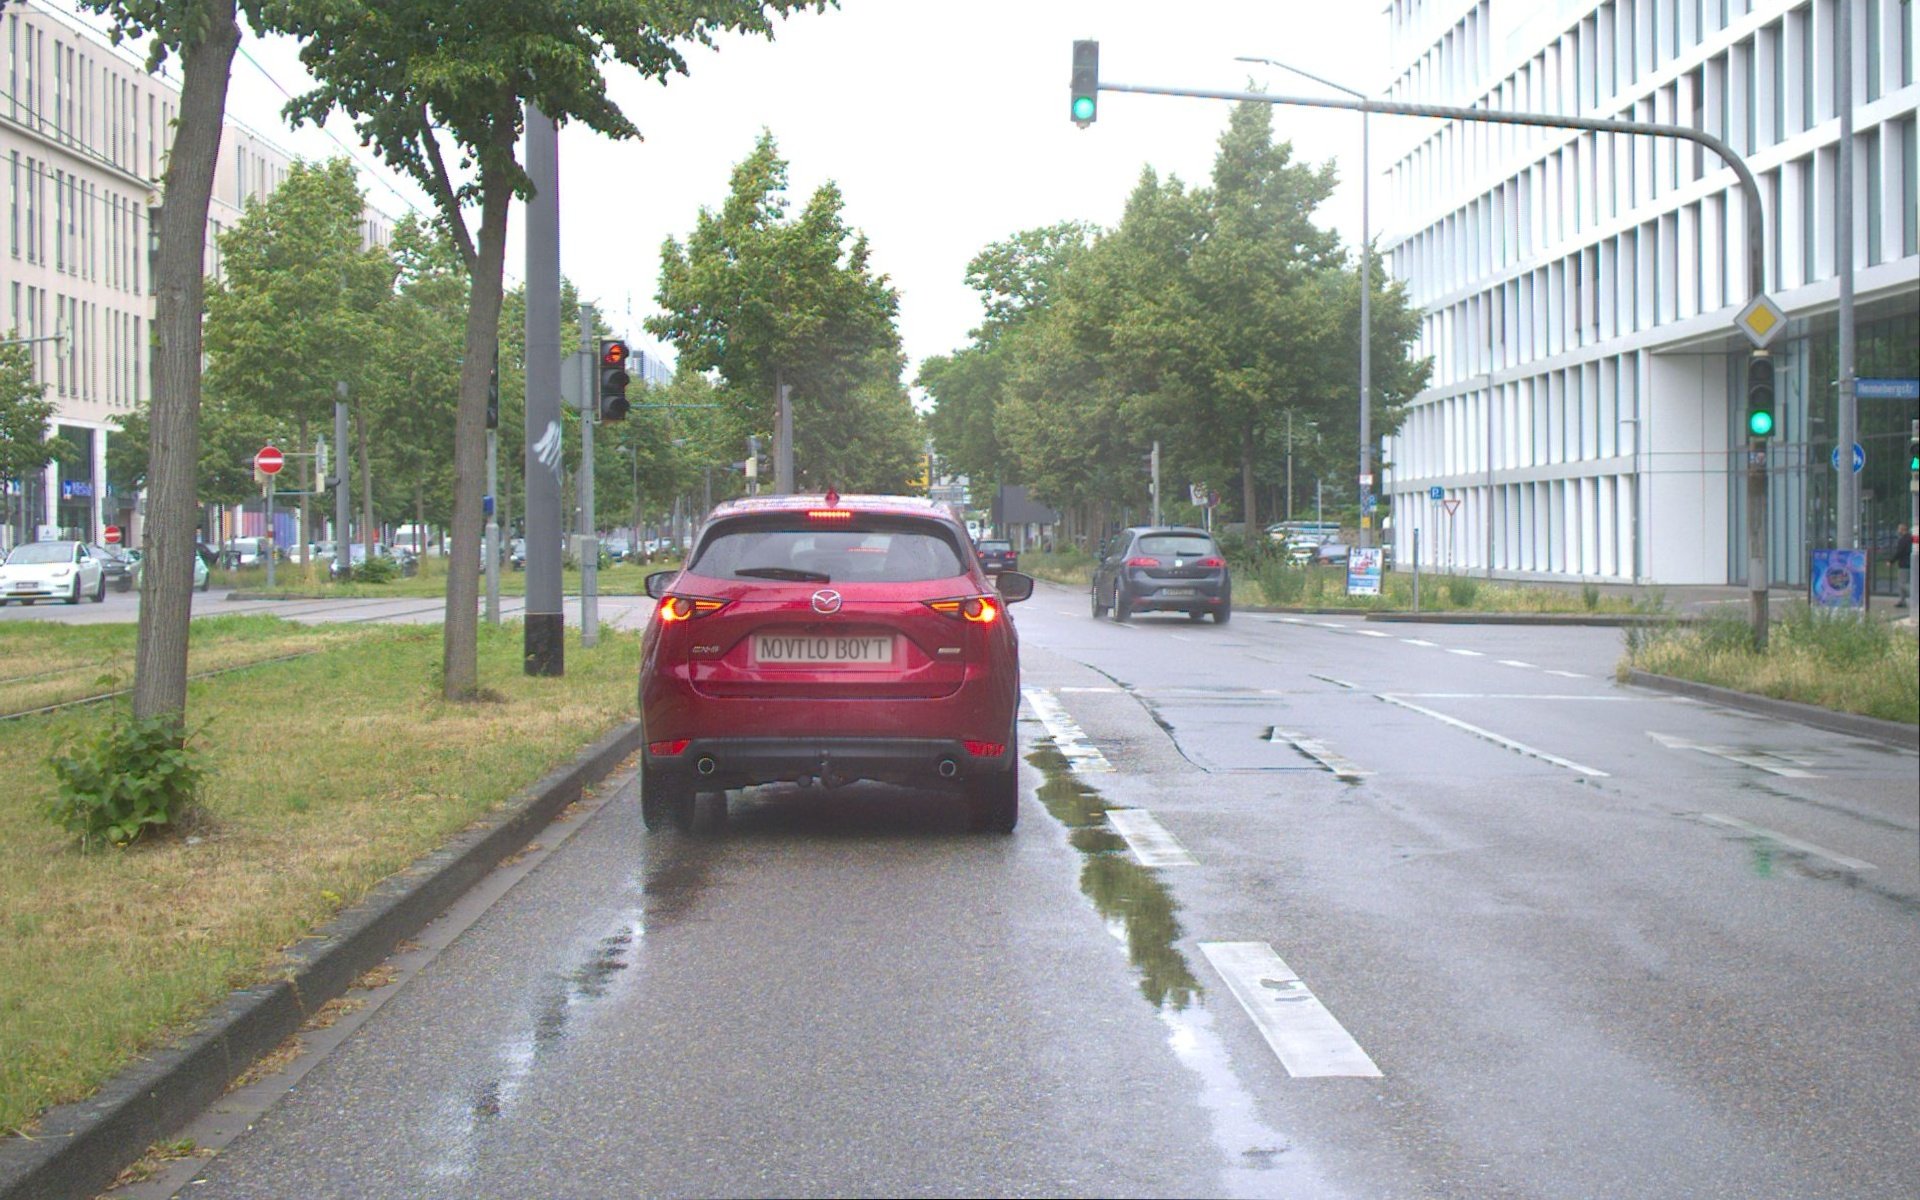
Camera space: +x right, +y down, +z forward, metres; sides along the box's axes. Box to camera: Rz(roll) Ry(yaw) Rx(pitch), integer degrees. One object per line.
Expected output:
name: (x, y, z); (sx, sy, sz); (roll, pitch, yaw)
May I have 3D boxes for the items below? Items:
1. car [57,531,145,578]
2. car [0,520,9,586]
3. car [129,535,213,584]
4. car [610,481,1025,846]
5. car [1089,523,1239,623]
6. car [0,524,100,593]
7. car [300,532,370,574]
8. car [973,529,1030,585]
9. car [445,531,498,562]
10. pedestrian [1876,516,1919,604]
car: (-27.572, -1.473, 110.434); (1.993, 1.479, 4.446); (0, 1, -4)
car: (-24.380, -1.111, 82.784); (1.993, 1.612, 4.001); (0, 1, -2)
car: (-24.470, -1.271, 106.763); (1.993, 1.479, 4.446); (0, 1, -5)
car: (-0.701, 0.245, 17.805); (1.898, 1.671, 4.000); (0, 1, -1)
car: (3.087, -0.437, 52.761); (1.743, 1.460, 3.782); (0, 1, -5)
car: (-20.594, -0.945, 77.306); (1.993, 1.479, 4.447); (0, 1, -8)
car: (-22.746, -1.730, 125.291); (1.993, 1.479, 4.446); (0, 1, -3)
car: (1.512, -1.592, 126.788); (1.993, 2.007, 4.000); (0, 1, -1)
car: (-23.443, -2.588, 165.096); (1.993, 1.479, 4.446); (0, 1, -1)
pedestrian: (18.407, -0.793, 67.307); (0.677, 1.701, 0.784); (0, 1, -4)
